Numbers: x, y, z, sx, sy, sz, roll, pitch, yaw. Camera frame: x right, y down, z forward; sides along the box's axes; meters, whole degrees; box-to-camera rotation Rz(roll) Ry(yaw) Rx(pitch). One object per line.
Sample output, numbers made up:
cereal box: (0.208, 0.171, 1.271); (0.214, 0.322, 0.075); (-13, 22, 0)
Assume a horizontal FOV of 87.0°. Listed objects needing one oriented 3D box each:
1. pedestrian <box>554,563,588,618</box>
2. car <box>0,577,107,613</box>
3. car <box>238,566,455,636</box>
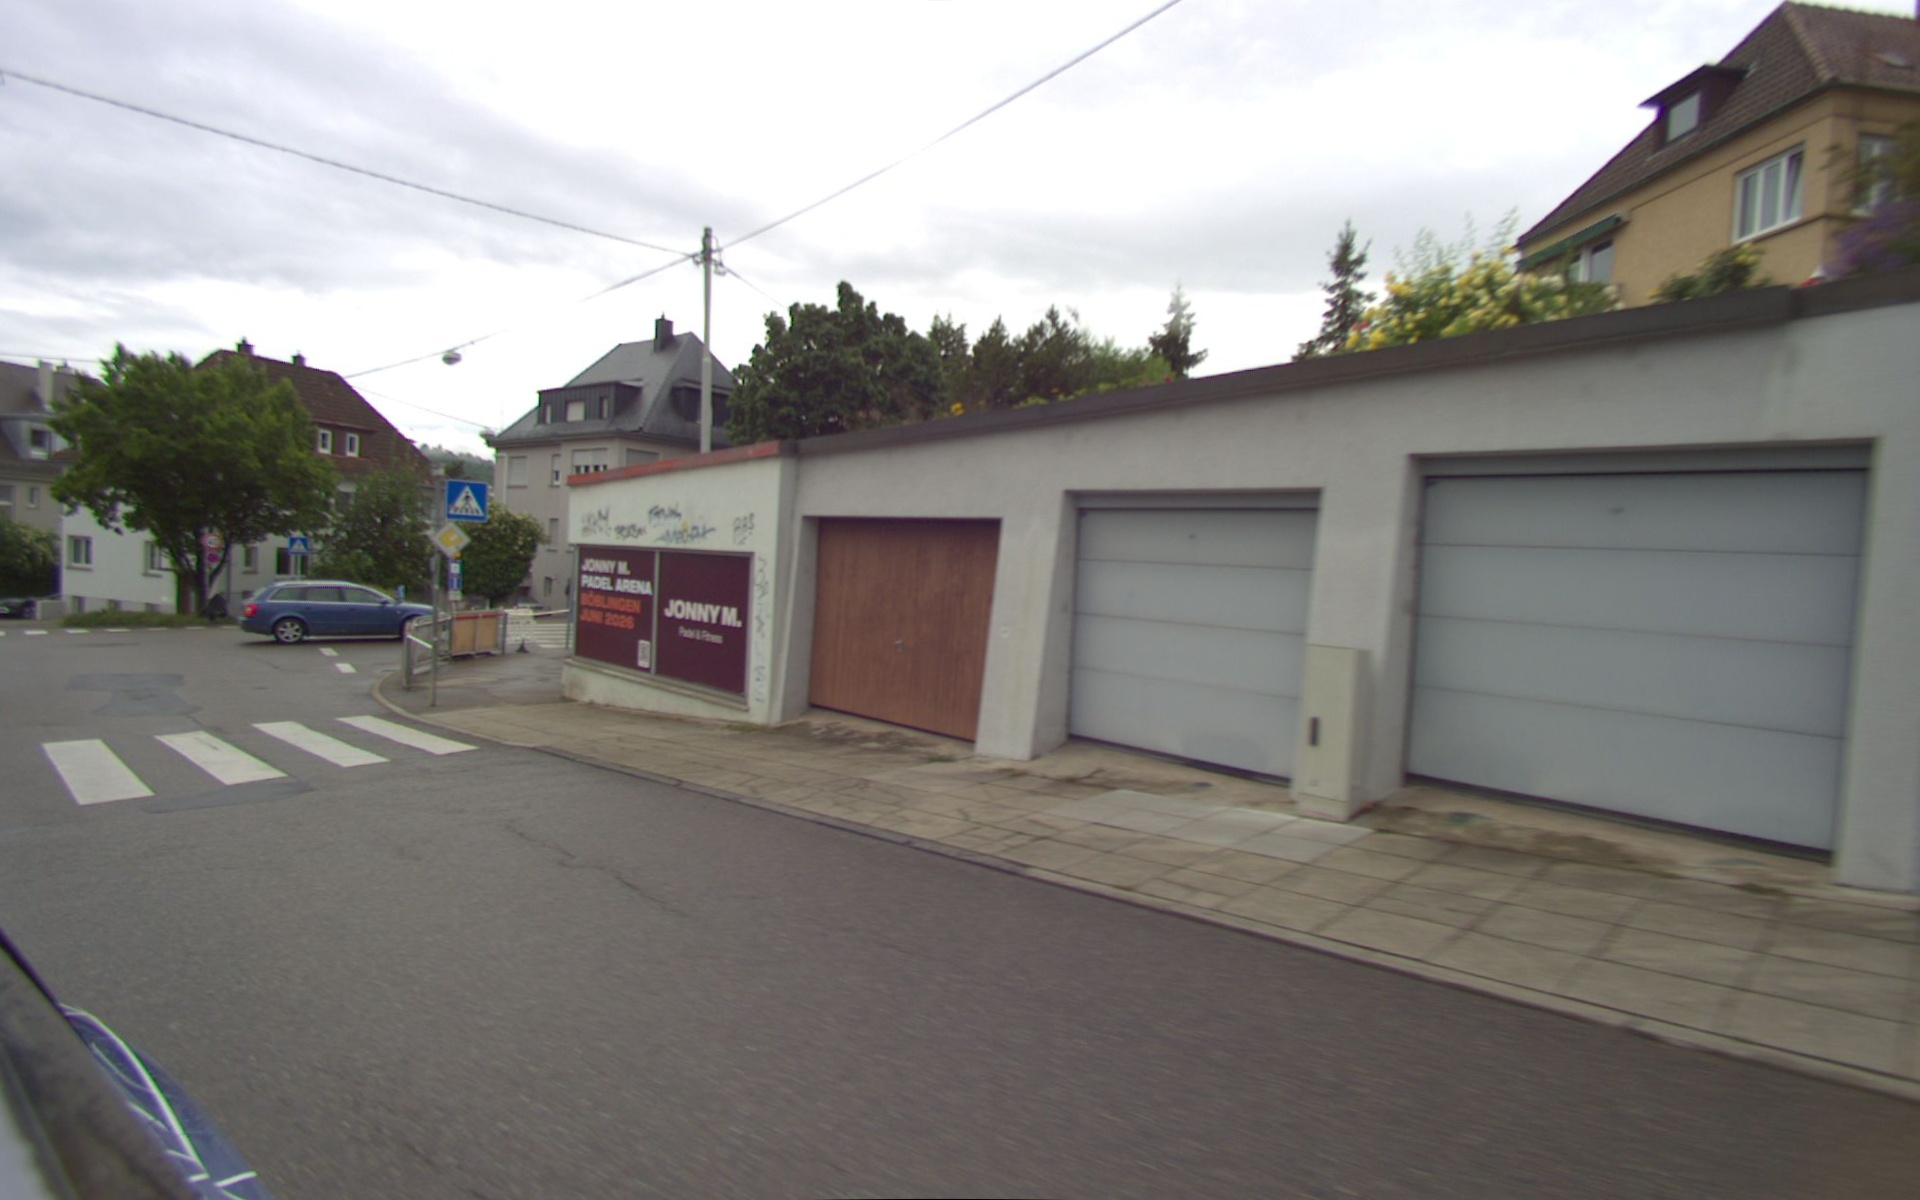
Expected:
pedestrian: (-11.677, -0.276, 30.384); (0.782, 1.623, 0.645); (-1, 0, -37)
car: (-44.608, -0.240, 49.385); (1.866, 1.685, 4.190); (0, 1, 23)
car: (-15.108, -0.047, 25.022); (4.414, 1.497, 2.005); (-1, 5, -37)
